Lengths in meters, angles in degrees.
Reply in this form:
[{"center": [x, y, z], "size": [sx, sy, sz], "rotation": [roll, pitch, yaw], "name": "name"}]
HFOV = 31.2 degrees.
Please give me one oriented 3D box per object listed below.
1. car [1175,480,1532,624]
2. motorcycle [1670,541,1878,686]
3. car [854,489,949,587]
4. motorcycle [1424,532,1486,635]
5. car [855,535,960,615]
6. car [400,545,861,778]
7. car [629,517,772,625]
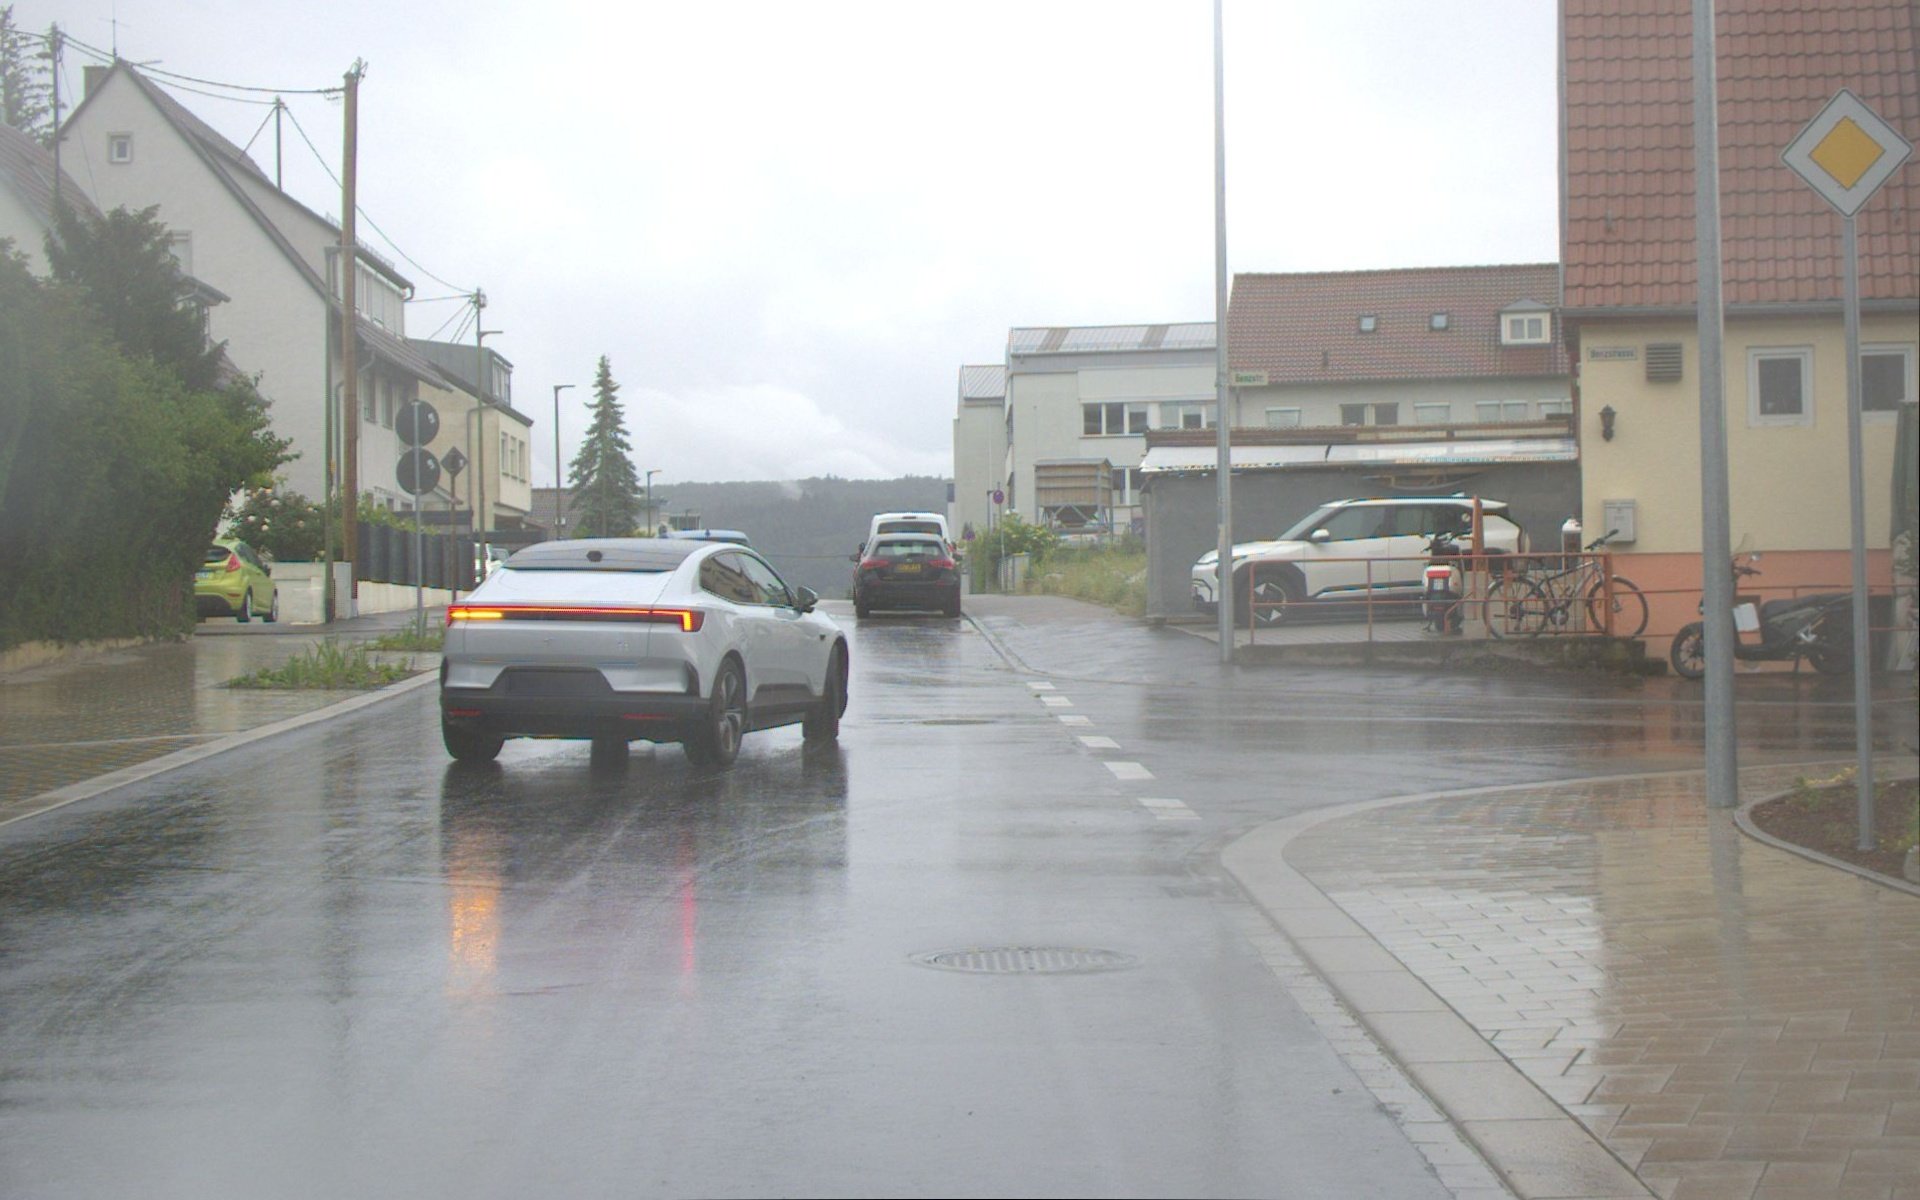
[{"center": [4.974, -0.604, 43.809], "size": [4.216, 1.604, 1.861], "rotation": [-3, 0, -3], "name": "car"}, {"center": [8.231, 0.134, 34.817], "size": [2.034, 1.451, 0.489], "rotation": [0, 0, 12], "name": "motorcycle"}, {"center": [-1.170, -1.196, 66.817], "size": [1.768, 1.819, 4.575], "rotation": [0, 1, -2], "name": "car"}, {"center": [5.474, -0.196, 38.077], "size": [0.488, 1.092, 2.000], "rotation": [0, 2, 3], "name": "motorcycle"}, {"center": [-0.947, -0.454, 59.890], "size": [1.768, 1.331, 4.321], "rotation": [0, 1, -2], "name": "car"}, {"center": [-2.214, 0.366, 24.563], "size": [1.994, 1.497, 4.667], "rotation": [0, 1, 12], "name": "car"}, {"center": [-3.811, -0.442, 51.074], "size": [1.929, 1.534, 4.321], "rotation": [0, 1, -2], "name": "car"}]
